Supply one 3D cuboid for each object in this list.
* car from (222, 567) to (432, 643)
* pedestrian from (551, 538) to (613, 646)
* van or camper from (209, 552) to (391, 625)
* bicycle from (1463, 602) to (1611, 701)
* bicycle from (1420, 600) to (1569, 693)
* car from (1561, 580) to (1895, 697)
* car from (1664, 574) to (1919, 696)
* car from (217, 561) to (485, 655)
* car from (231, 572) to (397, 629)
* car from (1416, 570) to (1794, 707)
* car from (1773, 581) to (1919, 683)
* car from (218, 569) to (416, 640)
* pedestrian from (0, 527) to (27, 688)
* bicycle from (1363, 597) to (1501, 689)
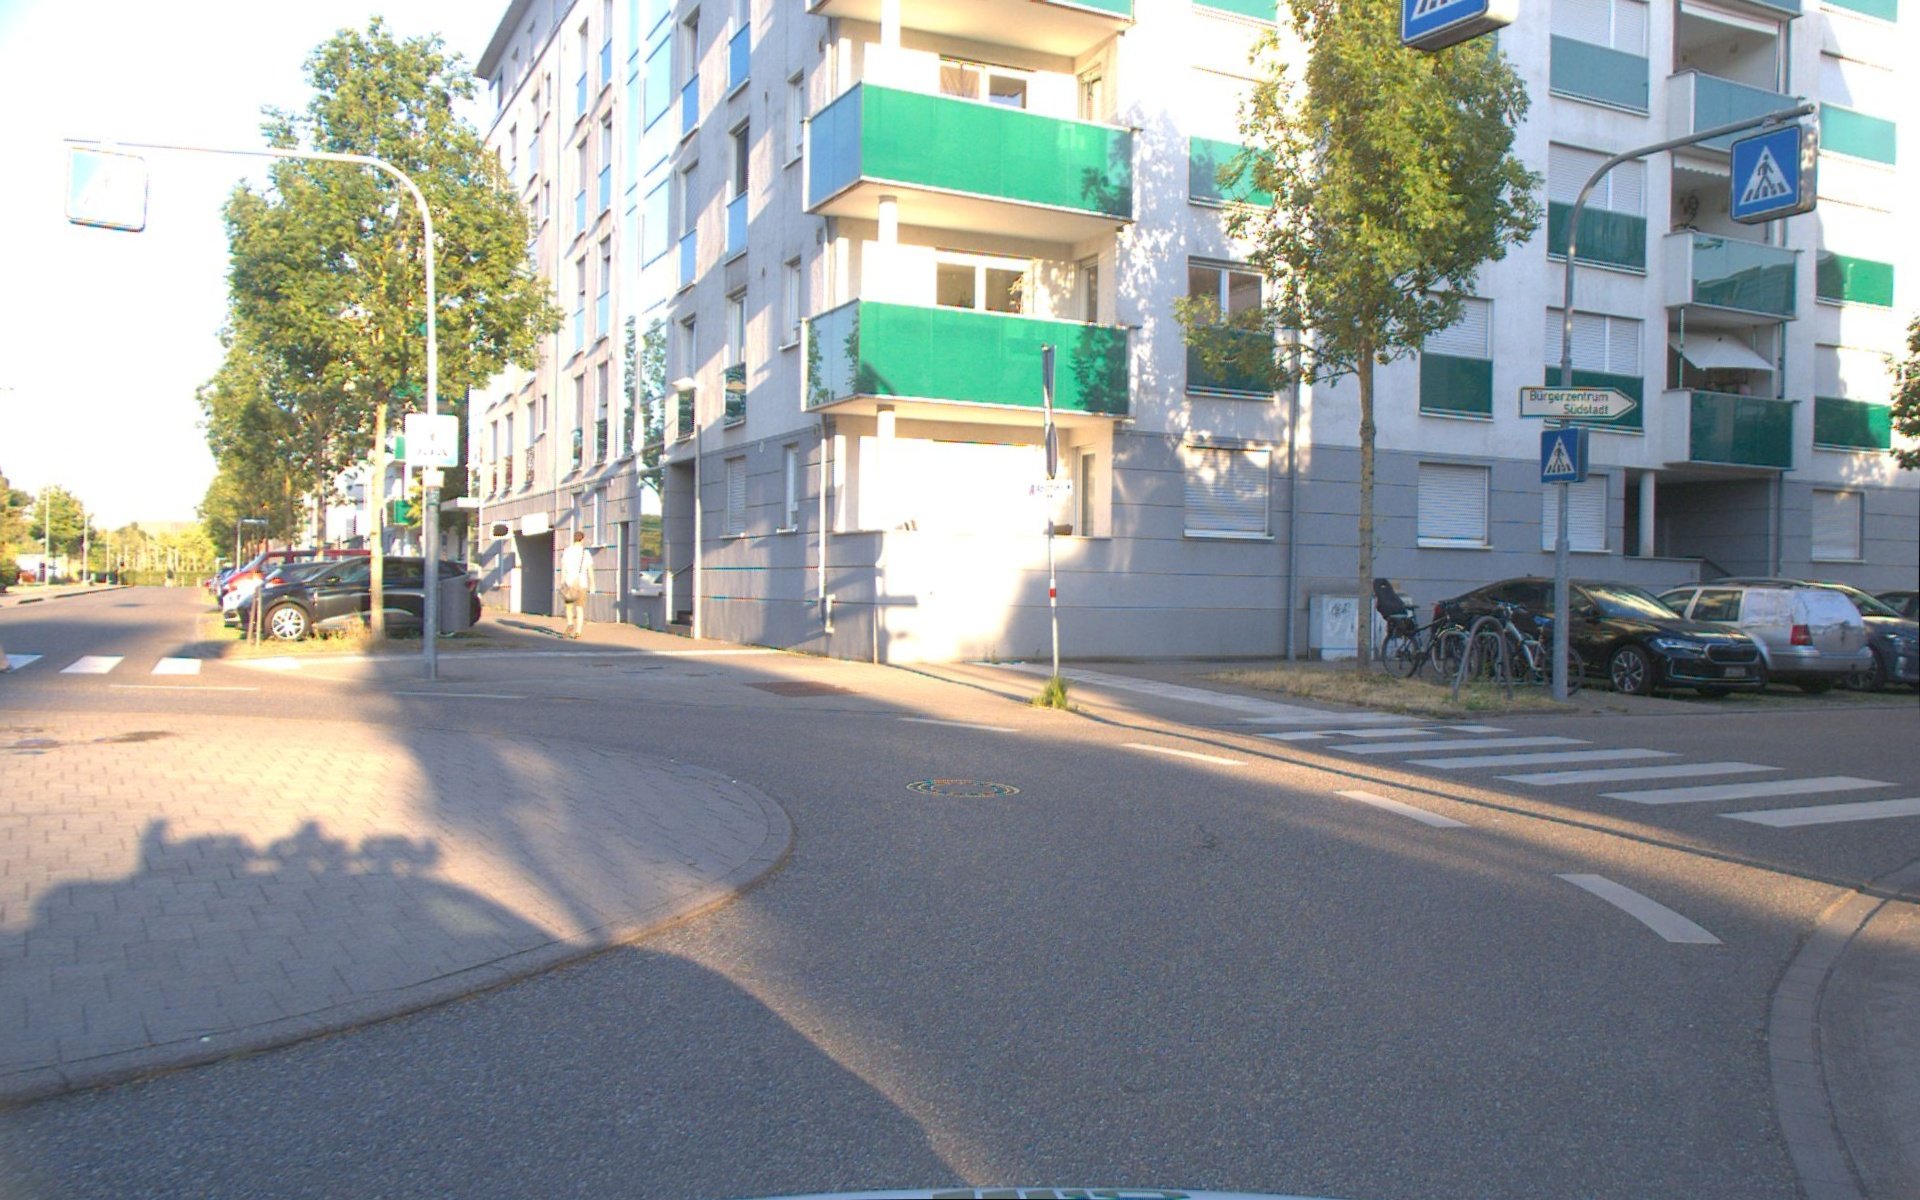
[{"bbox_3d":[-13.310,0.126,34.792,3.994,1.505,1.687,1,0,-27],"label":"car"},{"bbox_3d":[-6.871,-0.139,30.050,0.962,1.927,1.043,1,-1,-20],"label":"pedestrian"},{"bbox_3d":[-20.258,-0.336,50.822,5.055,2.096,1.861,1,0,-28],"label":"van or camper"},{"bbox_3d":[7.167,0.617,20.625,0.467,1.090,1.821,1,2,-31],"label":"bicycle"},{"bbox_3d":[7.026,0.596,21.840,0.467,1.064,2.014,1,2,-31],"label":"bicycle"},{"bbox_3d":[10.991,0.523,24.026,1.714,1.534,4.382,1,-1,-24],"label":"car"},{"bbox_3d":[13.098,0.462,25.131,1.717,1.519,4.258,1,3,-28],"label":"car"},{"bbox_3d":[-11.036,0.113,30.010,4.409,1.513,1.819,-2,1,-25],"label":"car"},{"bbox_3d":[-18.868,0.029,48.326,4.398,1.547,1.687,1,0,-27],"label":"car"},{"bbox_3d":[8.688,0.446,22.811,1.907,1.482,4.853,1,3,-25],"label":"car"},{"bbox_3d":[15.567,0.533,26.833,1.710,1.483,4.275,1,2,-19],"label":"car"},{"bbox_3d":[-14.353,0.117,36.941,3.994,1.505,1.687,1,0,-27],"label":"car"},{"bbox_3d":[-11.108,0.079,18.809,0.790,1.815,0.728,1,-1,-27],"label":"pedestrian"},{"bbox_3d":[6.079,0.536,21.375,0.559,1.060,1.775,1,2,-31],"label":"bicycle"}]
